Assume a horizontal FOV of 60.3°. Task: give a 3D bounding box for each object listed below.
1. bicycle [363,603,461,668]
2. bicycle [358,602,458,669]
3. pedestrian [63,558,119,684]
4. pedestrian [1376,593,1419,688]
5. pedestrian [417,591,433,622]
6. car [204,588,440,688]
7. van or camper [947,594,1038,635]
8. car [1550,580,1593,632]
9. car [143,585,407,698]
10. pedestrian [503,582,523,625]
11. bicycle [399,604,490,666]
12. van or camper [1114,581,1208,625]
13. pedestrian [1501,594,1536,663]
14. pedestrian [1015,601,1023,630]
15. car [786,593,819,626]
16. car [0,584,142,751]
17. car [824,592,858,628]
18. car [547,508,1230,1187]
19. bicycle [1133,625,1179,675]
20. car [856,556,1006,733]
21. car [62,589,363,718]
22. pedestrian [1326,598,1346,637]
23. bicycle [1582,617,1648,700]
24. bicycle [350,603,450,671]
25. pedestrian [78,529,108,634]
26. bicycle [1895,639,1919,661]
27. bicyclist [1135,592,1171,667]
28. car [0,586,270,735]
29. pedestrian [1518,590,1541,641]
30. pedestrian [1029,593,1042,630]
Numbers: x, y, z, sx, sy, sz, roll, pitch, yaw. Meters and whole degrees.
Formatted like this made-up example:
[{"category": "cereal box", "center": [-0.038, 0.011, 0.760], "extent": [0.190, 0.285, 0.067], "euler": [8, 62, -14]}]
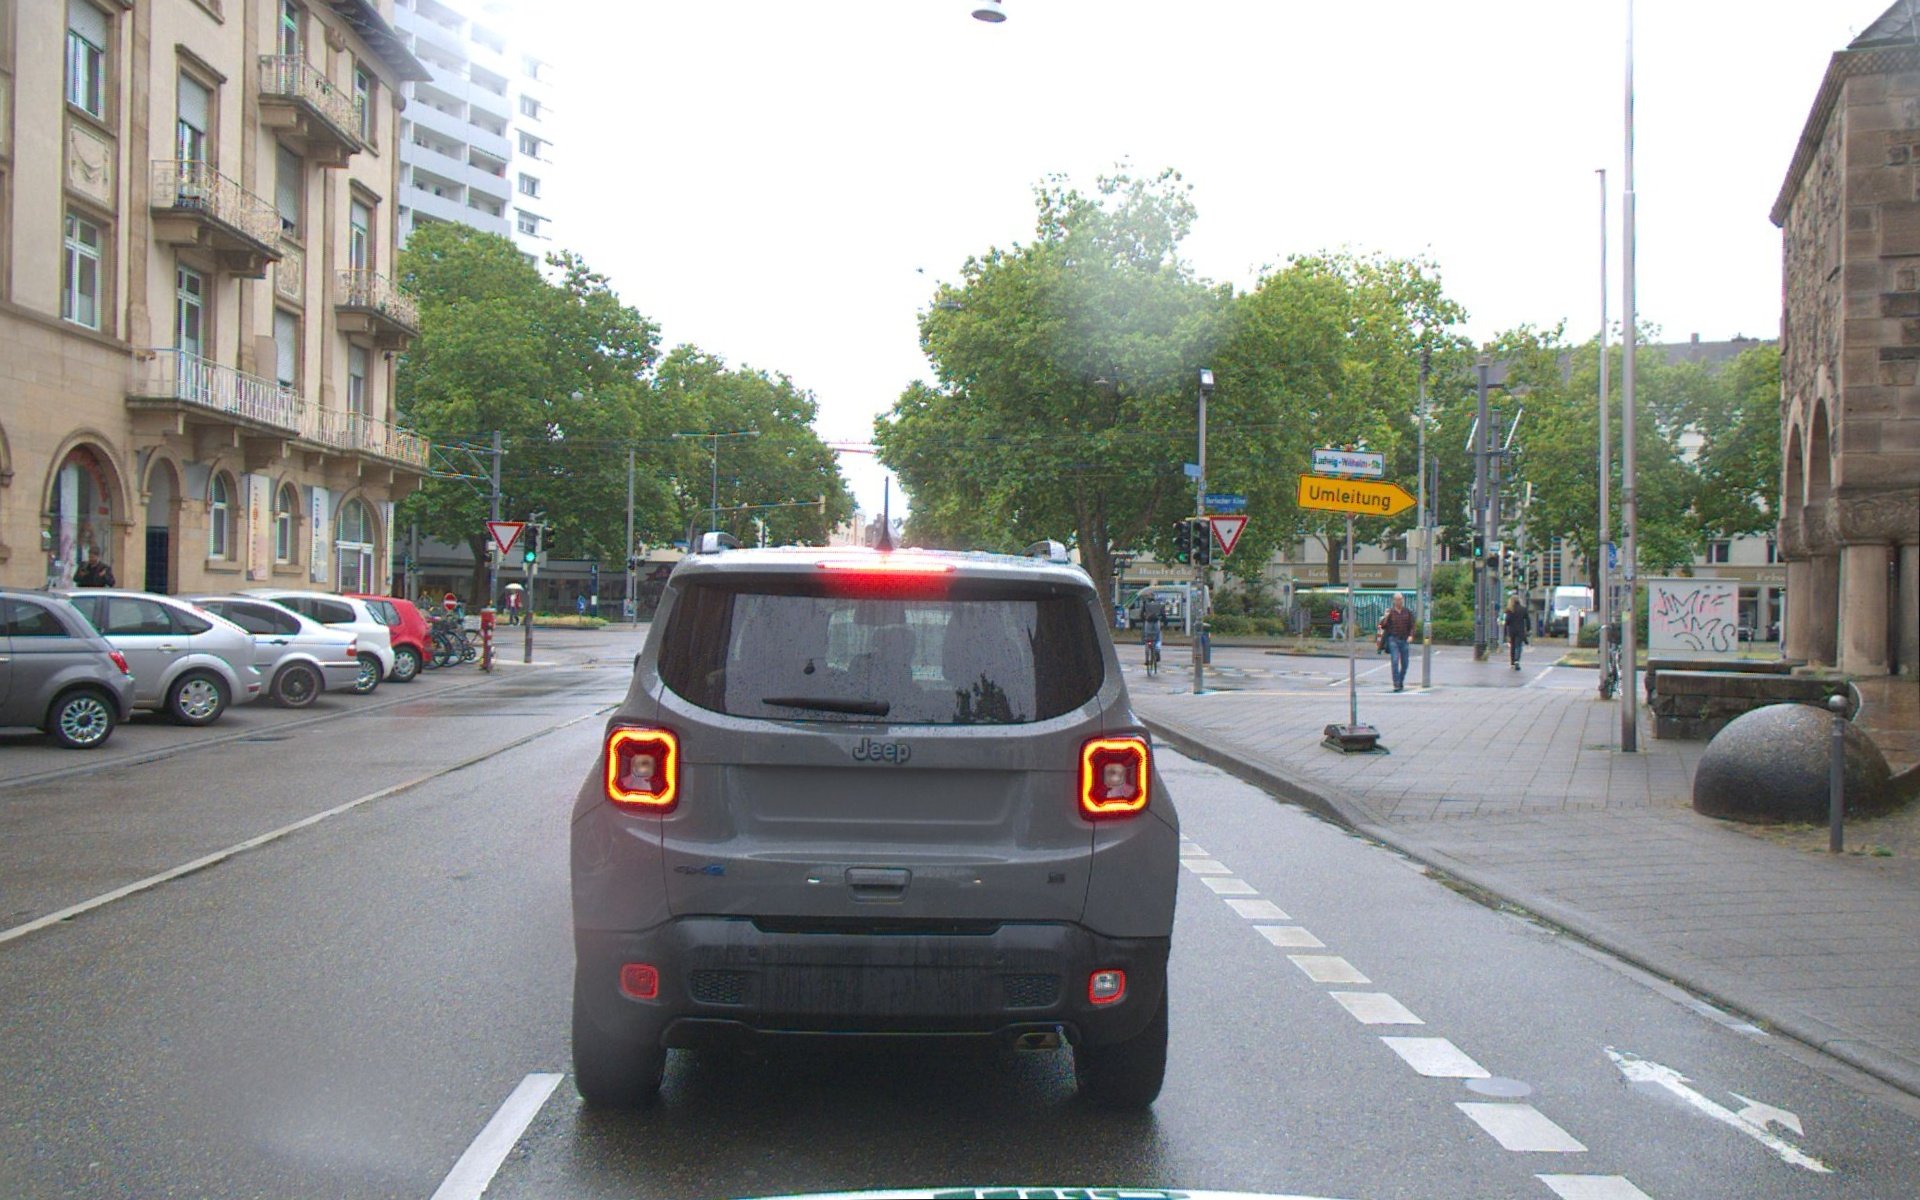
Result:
[{"category": "bicycle", "center": [-10.921, 0.699, 33.005], "extent": [1.774, 1.288, 0.498], "euler": [0, 0, -3]}, {"category": "bicycle", "center": [-10.781, 0.692, 32.324], "extent": [1.774, 1.288, 0.498], "euler": [0, 0, -3]}, {"category": "pedestrian", "center": [-14.303, 0.336, 27.226], "extent": [0.556, 2.049, 0.654], "euler": [1, 0, -1]}, {"category": "pedestrian", "center": [8.422, 0.770, 31.879], "extent": [0.769, 1.790, 0.946], "euler": [0, 0, 14]}, {"category": "pedestrian", "center": [-26.609, 0.325, 82.321], "extent": [0.433, 1.556, 0.643], "euler": [0, 0, 25]}, {"category": "car", "center": [-10.743, 0.614, 27.946], "extent": [3.372, 1.585, 1.681], "euler": [1, 0, -41]}, {"category": "van or camper", "center": [2.434, 1.078, 124.764], "extent": [6.395, 2.963, 2.493], "euler": [0, 0, 24]}, {"category": "car", "center": [31.212, 0.297, 84.323], "extent": [1.868, 2.600, 4.786], "euler": [0, 0, 22]}, {"category": "car", "center": [-10.356, 0.594, 25.085], "extent": [3.372, 1.585, 1.681], "euler": [1, 0, -41]}, {"category": "pedestrian", "center": [-19.645, 0.155, 72.722], "extent": [0.605, 1.858, 0.695], "euler": [0, 0, 12]}, {"category": "bicycle", "center": [-10.874, 0.728, 34.913], "extent": [1.728, 1.288, 0.608], "euler": [0, 0, -3]}, {"category": "van or camper", "center": [11.509, 0.156, 94.951], "extent": [5.149, 2.356, 2.090], "euler": [1, 0, 3]}, {"category": "pedestrian", "center": [13.672, 0.693, 40.501], "extent": [0.767, 1.674, 0.655], "euler": [0, 0, 23]}, {"category": "pedestrian", "center": [3.591, 0.948, 101.137], "extent": [0.448, 1.733, 0.424], "euler": [1, 0, -1]}, {"category": "car", "center": [-8.605, 0.509, 90.360], "extent": [1.779, 1.700, 3.916], "euler": [1, 0, -5]}, {"category": "car", "center": [-9.962, 0.634, 16.022], "extent": [3.372, 1.585, 1.628], "euler": [1, 0, -41]}, {"category": "car", "center": [-6.111, 0.480, 84.441], "extent": [1.688, 1.769, 3.726], "euler": [1, 0, -5]}, {"category": "car", "center": [-0.239, 0.621, 6.157], "extent": [1.739, 1.716, 3.846], "euler": [0, 0, -2]}, {"category": "bicycle", "center": [4.396, 1.102, 36.963], "extent": [0.677, 1.039, 2.660], "euler": [0, 0, 15]}, {"category": "car", "center": [-0.379, 0.516, 21.273], "extent": [1.734, 2.049, 3.999], "euler": [1, 0, -1]}, {"category": "car", "center": [-10.003, 0.671, 22.233], "extent": [3.372, 1.585, 1.681], "euler": [1, 0, -41]}, {"category": "pedestrian", "center": [15.654, 0.738, 68.865], "extent": [0.660, 1.581, 0.761], "euler": [0, -2, 27]}, {"category": "bicycle", "center": [9.843, 0.857, 24.906], "extent": [0.322, 1.174, 2.076], "euler": [0, 0, 4]}, {"category": "bicycle", "center": [-10.753, 0.701, 31.778], "extent": [1.728, 1.288, 0.522], "euler": [0, 0, -3]}, {"category": "pedestrian", "center": [-15.366, -0.329, 29.311], "extent": [0.359, 1.854, 0.347], "euler": [0, -1, -4]}, {"category": "bicycle", "center": [32.997, 1.717, 56.600], "extent": [1.662, 0.731, 0.653], "euler": [0, 0, 20]}, {"category": "bicyclist", "center": [4.299, 0.642, 36.823], "extent": [0.672, 1.646, 0.884], "euler": [0, 0, 15]}, {"category": "car", "center": [-9.958, 0.649, 19.051], "extent": [3.372, 1.585, 1.681], "euler": [1, 0, -41]}, {"category": "pedestrian", "center": [22.681, 0.611, 65.879], "extent": [0.789, 2.049, 0.589], "euler": [0, 0, 26]}, {"category": "pedestrian", "center": [4.230, 0.655, 92.681], "extent": [0.637, 2.049, 0.483], "euler": [1, 0, 11]}]
